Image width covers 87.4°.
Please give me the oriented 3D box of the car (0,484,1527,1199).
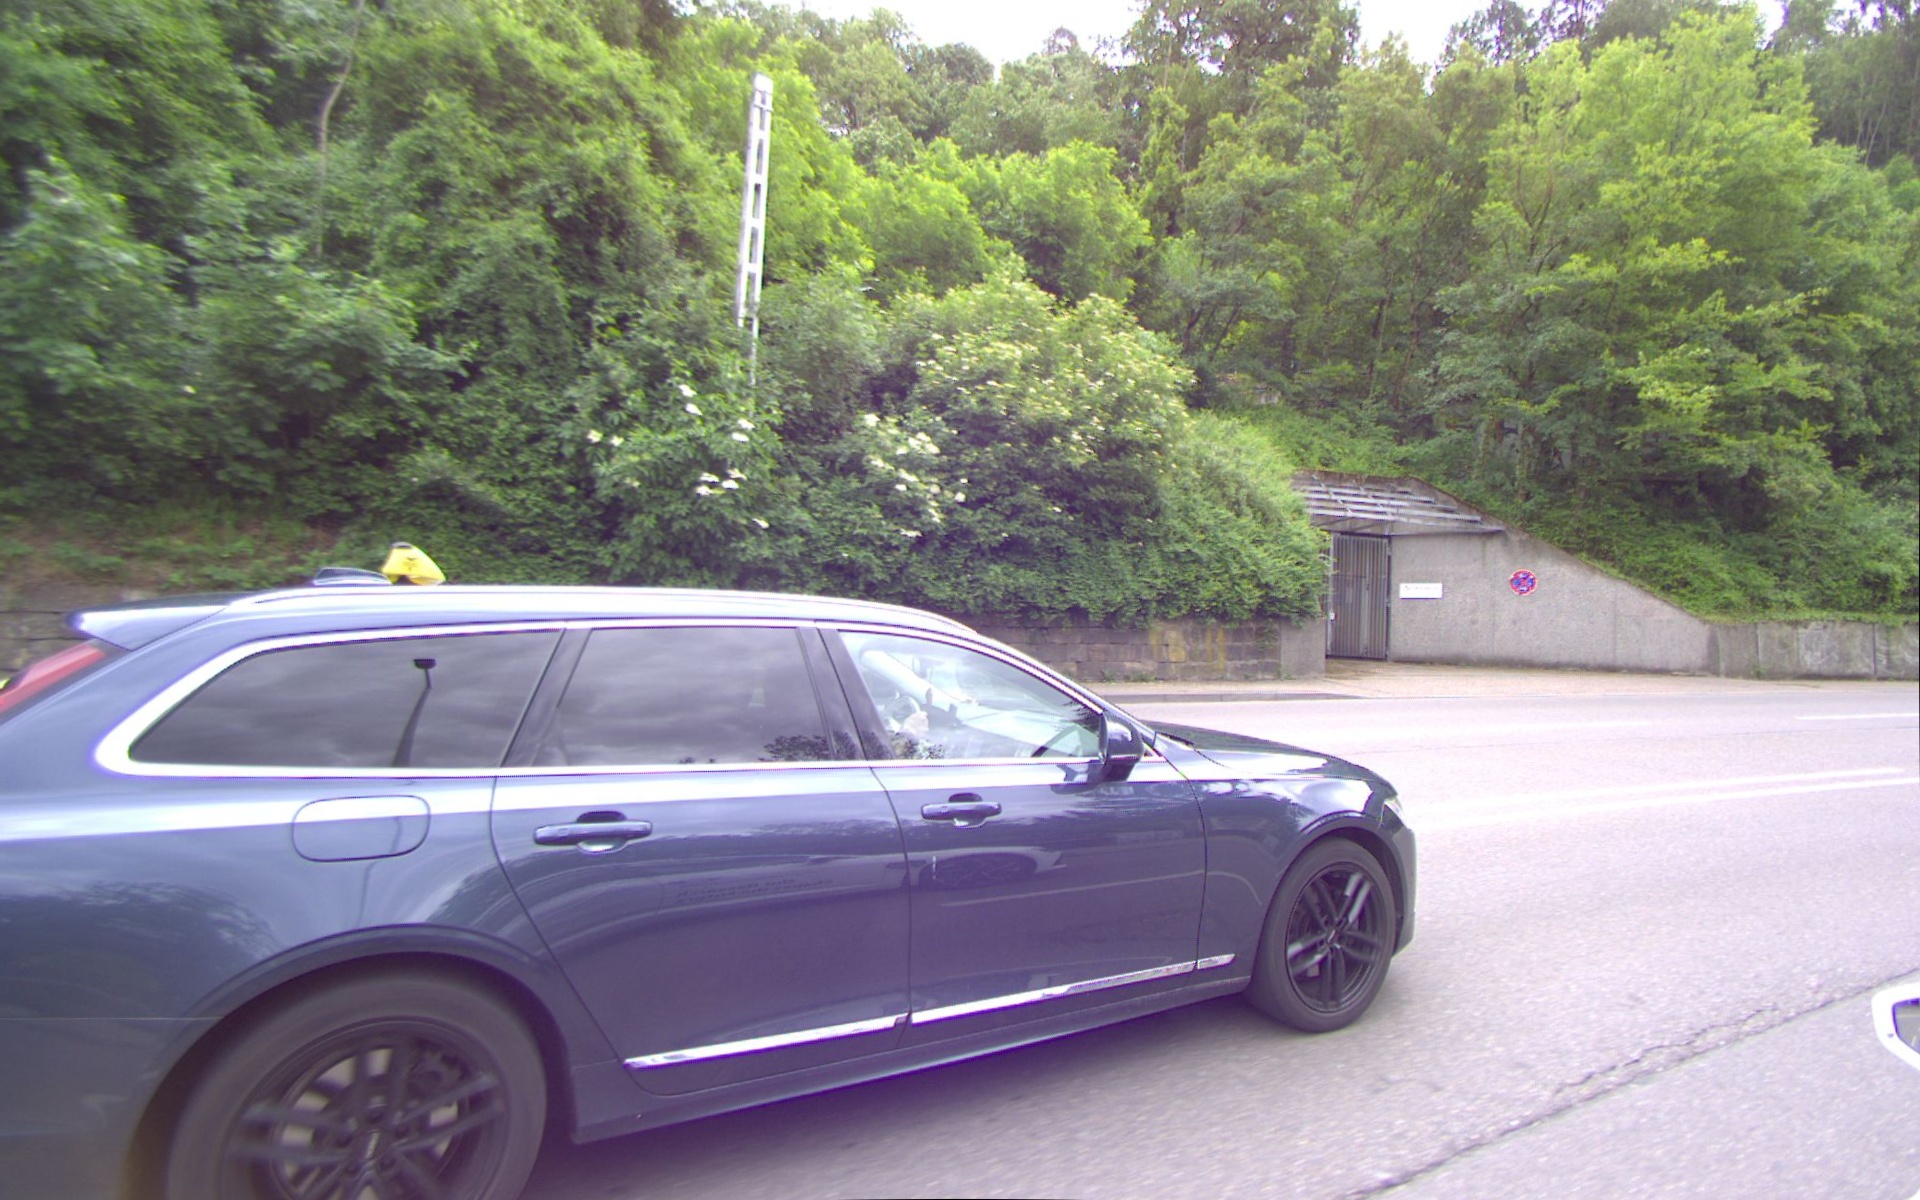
[{"bbox_3d":[-0.427,0.709,3.376,4.975,1.597,1.923,5,0,-33],"label":"car"}]
